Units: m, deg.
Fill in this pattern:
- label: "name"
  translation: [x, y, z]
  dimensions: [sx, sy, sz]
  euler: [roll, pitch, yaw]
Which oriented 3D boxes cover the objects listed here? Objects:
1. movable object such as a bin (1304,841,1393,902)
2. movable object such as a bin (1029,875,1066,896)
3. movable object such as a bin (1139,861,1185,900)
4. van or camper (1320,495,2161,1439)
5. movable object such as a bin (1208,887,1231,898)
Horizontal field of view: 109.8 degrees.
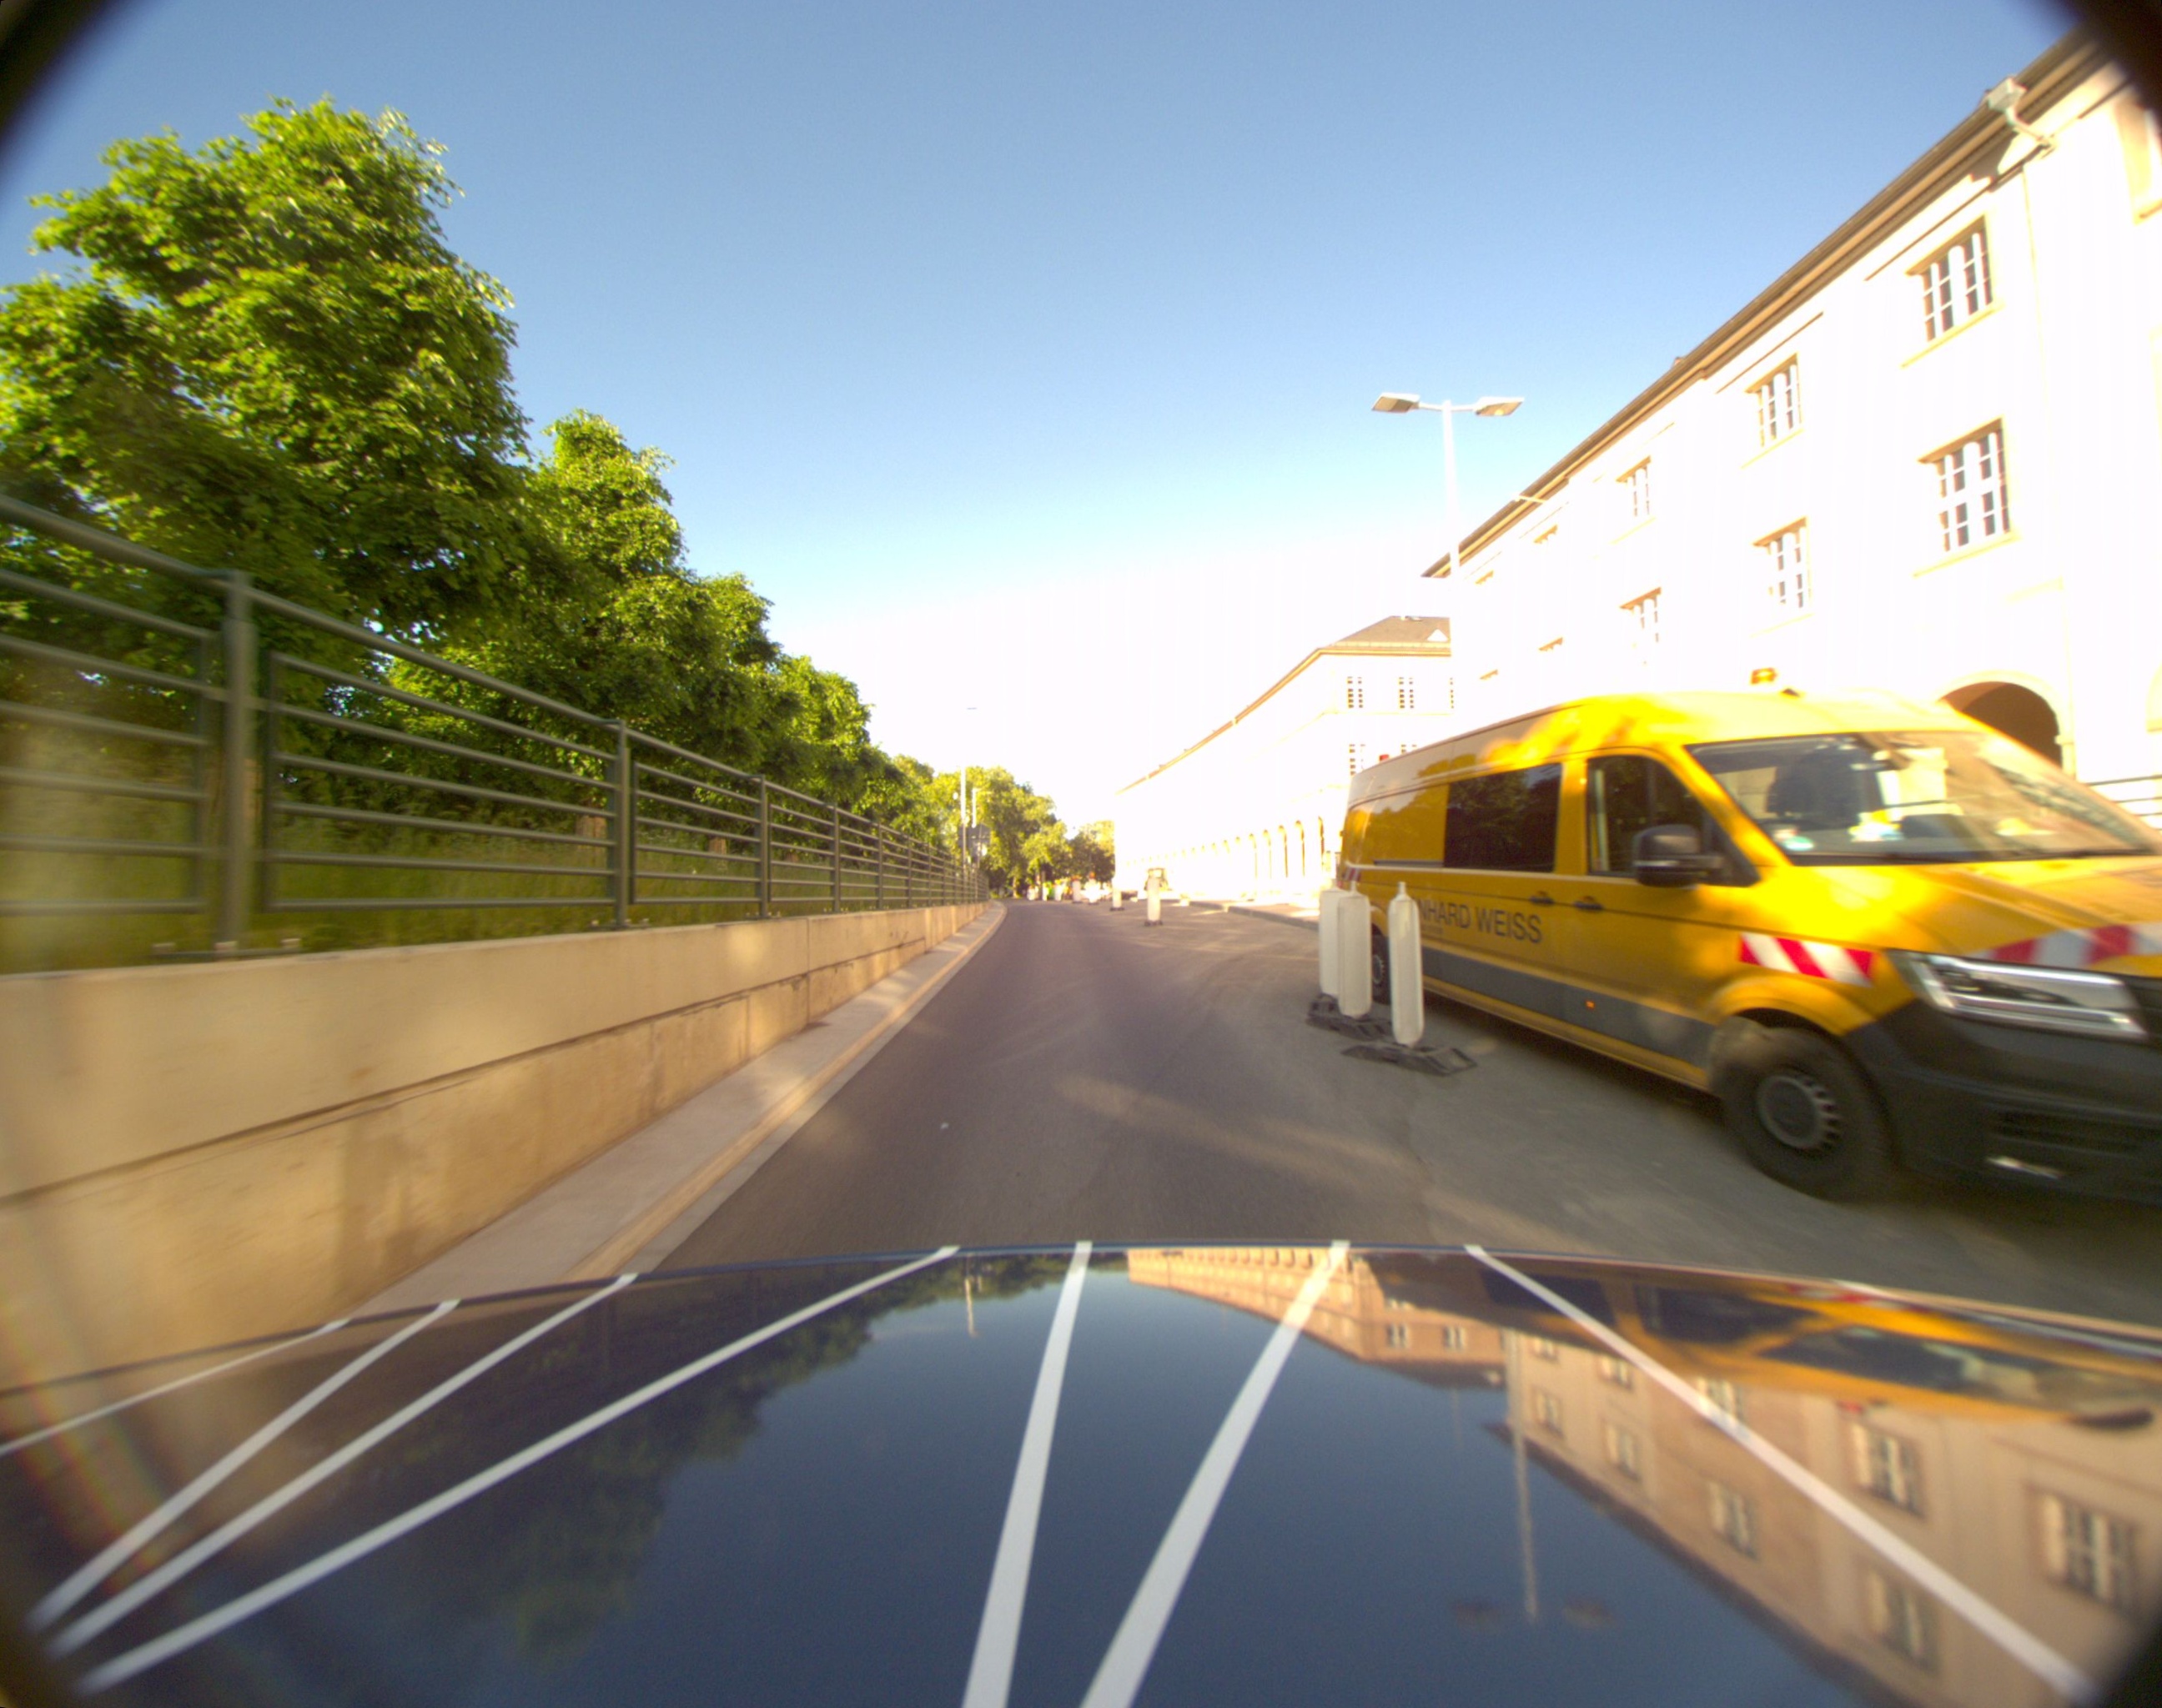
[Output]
- label: "movable object such as a bin"
  translation: [11.217, 0.773, 32.195]
  dimensions: [2.105, 2.380, 4.308]
  euler: [1, -2, -2]
- label: "movable object such as a bin"
  translation: [-3.364, 3.163, 75.497]
  dimensions: [3.246, 2.064, 2.107]
  euler: [1, -3, -20]
- label: "movable object such as a bin"
  translation: [5.260, 1.760, 49.787]
  dimensions: [1.796, 2.437, 4.535]
  euler: [0, -3, -10]
- label: "van or camper"
  translation: [3.993, 0.270, 5.499]
  dimensions: [2.199, 2.597, 6.824]
  euler: [-3, 0, 0]
- label: "movable object such as a bin"
  translation: [9.262, 2.576, 50.737]
  dimensions: [1.191, 0.693, 1.240]
  euler: [0, -3, -8]
